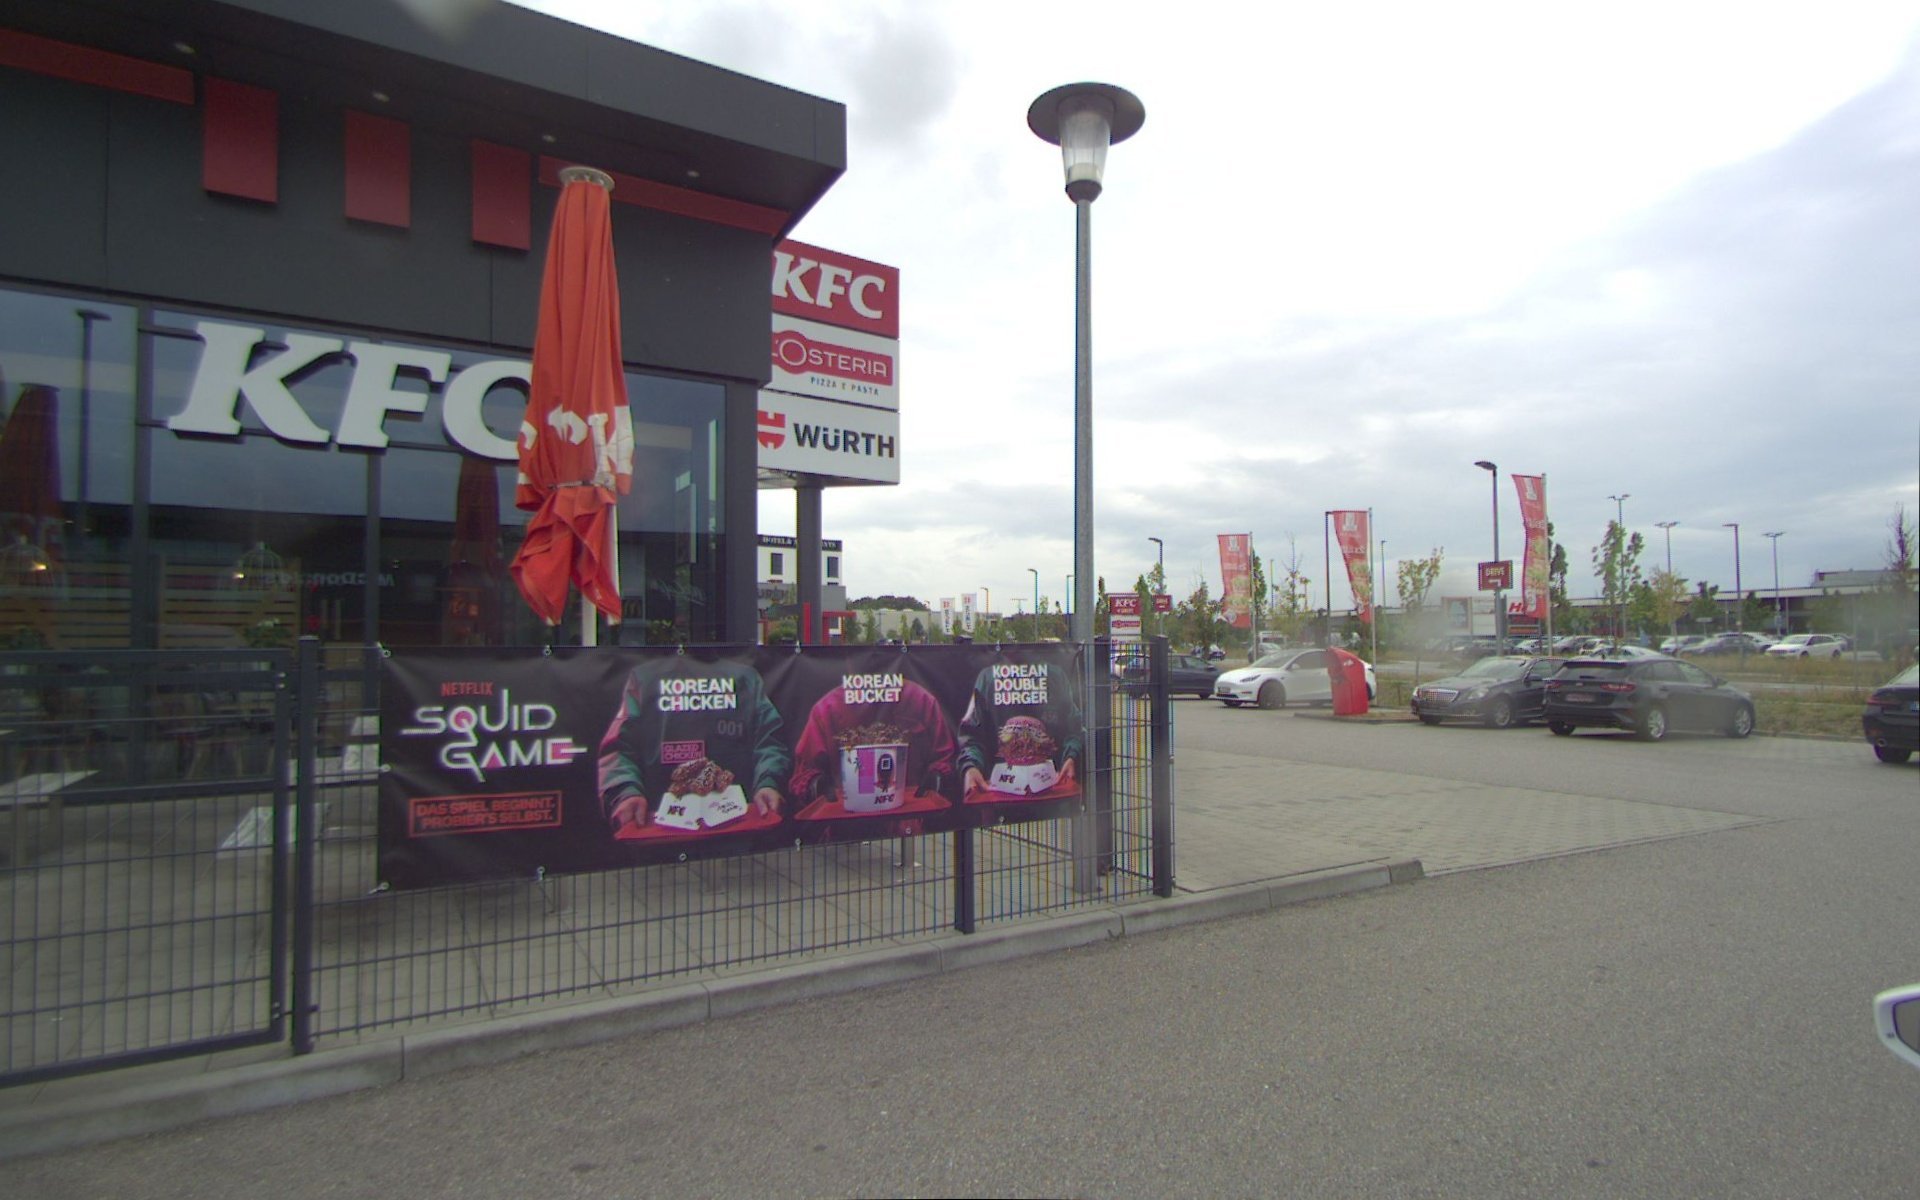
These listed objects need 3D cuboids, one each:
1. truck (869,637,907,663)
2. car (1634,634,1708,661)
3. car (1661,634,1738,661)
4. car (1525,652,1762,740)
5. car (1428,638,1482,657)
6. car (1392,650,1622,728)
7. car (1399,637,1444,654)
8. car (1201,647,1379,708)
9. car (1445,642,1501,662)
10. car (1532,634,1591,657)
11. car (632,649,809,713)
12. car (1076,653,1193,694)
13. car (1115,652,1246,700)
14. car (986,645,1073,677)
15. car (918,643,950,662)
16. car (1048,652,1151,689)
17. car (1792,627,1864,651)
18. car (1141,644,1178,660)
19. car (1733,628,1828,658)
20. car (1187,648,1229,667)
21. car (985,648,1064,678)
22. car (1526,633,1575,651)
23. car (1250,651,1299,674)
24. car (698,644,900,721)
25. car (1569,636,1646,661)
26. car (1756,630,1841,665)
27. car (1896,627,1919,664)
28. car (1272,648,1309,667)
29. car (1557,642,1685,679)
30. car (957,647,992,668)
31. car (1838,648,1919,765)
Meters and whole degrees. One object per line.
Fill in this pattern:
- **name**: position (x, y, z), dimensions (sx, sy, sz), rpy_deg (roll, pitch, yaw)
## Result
- **truck**: position (-7.958, 5.542, 109.996), dimensions (2.302, 2.436, 7.869), rpy_deg (2, -6, -18)
- **car**: position (46.047, 3.053, 65.044), dimensions (3.988, 1.560, 1.767), rpy_deg (-1, -2, -16)
- **car**: position (46.124, 2.960, 62.672), dimensions (3.988, 1.560, 1.767), rpy_deg (-1, -2, -16)
- **car**: position (12.451, 1.717, 18.296), dimensions (4.018, 1.430, 1.876), rpy_deg (3, -3, -27)
- **car**: position (43.054, 4.129, 87.311), dimensions (3.991, 1.560, 1.900), rpy_deg (-1, -2, -19)
- **car**: position (11.565, 1.858, 21.199), dimensions (4.679, 1.475, 1.900), rpy_deg (3, -3, -25)
- **car**: position (51.601, 5.112, 112.360), dimensions (1.976, 1.862, 4.154), rpy_deg (-1, -2, -30)
- **car**: position (9.113, 2.131, 27.745), dimensions (4.477, 1.561, 1.917), rpy_deg (2, -3, -20)
- **car**: position (43.214, 4.357, 84.657), dimensions (4.005, 1.521, 1.860), rpy_deg (-1, -2, -15)
- **car**: position (44.794, 3.413, 74.817), dimensions (3.704, 1.560, 1.766), rpy_deg (-1, -2, -19)
- **car**: position (-6.221, 2.056, 26.176), dimensions (4.130, 1.505, 1.985), rpy_deg (1, -2, -30)
- **car**: position (6.467, 2.719, 37.306), dimensions (3.873, 1.430, 1.835), rpy_deg (2, -3, -15)
- **car**: position (7.083, 2.436, 32.347), dimensions (3.748, 1.430, 1.732), rpy_deg (2, -3, -18)
- **car**: position (3.516, 3.106, 51.495), dimensions (4.139, 1.564, 1.862), rpy_deg (0, -2, -10)
- **car**: position (-2.466, 4.949, 94.390), dimensions (1.835, 1.671, 3.981), rpy_deg (2, -4, -21)
- **car**: position (5.815, 2.951, 41.978), dimensions (3.930, 1.447, 1.724), rpy_deg (2, -3, -12)
- **car**: position (73.600, 3.329, 85.266), dimensions (1.973, 1.862, 4.161), rpy_deg (-1, -2, -25)
- **car**: position (18.396, 4.811, 92.716), dimensions (1.738, 1.413, 4.208), rpy_deg (0, -3, -14)
- **car**: position (51.370, 2.696, 62.986), dimensions (1.889, 1.795, 4.310), rpy_deg (-1, -2, -14)
- **car**: position (20.908, 4.866, 84.801), dimensions (1.823, 1.519, 4.277), rpy_deg (0, -2, -11)
- **car**: position (3.456, 3.411, 54.253), dimensions (3.999, 1.479, 1.774), rpy_deg (-1, -1, -8)
- **car**: position (63.559, 4.542, 108.139), dimensions (1.972, 1.862, 4.162), rpy_deg (-1, -2, -24)
- **car**: position (22.737, 4.502, 72.767), dimensions (1.797, 1.479, 3.995), rpy_deg (-2, -2, -9)
- **car**: position (-3.413, 1.741, 21.458), dimensions (3.893, 1.506, 1.745), rpy_deg (3, -3, -30)
- **car**: position (44.670, 3.339, 69.369), dimensions (4.082, 1.560, 1.999), rpy_deg (-2, -2, -6)
- **car**: position (47.591, 2.675, 57.003), dimensions (4.260, 1.795, 1.989), rpy_deg (-1, -2, -24)
- **car**: position (49.182, 2.206, 49.939), dimensions (4.250, 1.795, 1.925), rpy_deg (-1, -2, -16)
- **car**: position (25.732, 4.451, 78.282), dimensions (1.406, 1.388, 3.456), rpy_deg (-2, -2, -7)
- **car**: position (30.505, 2.786, 46.549), dimensions (1.774, 1.572, 4.835), rpy_deg (-1, -2, -19)
- **car**: position (1.068, 4.317, 75.851), dimensions (1.726, 1.488, 4.468), rpy_deg (1, -3, -11)
- **car**: position (14.277, 1.453, 13.698), dimensions (4.458, 1.485, 1.935), rpy_deg (3, -3, -27)
